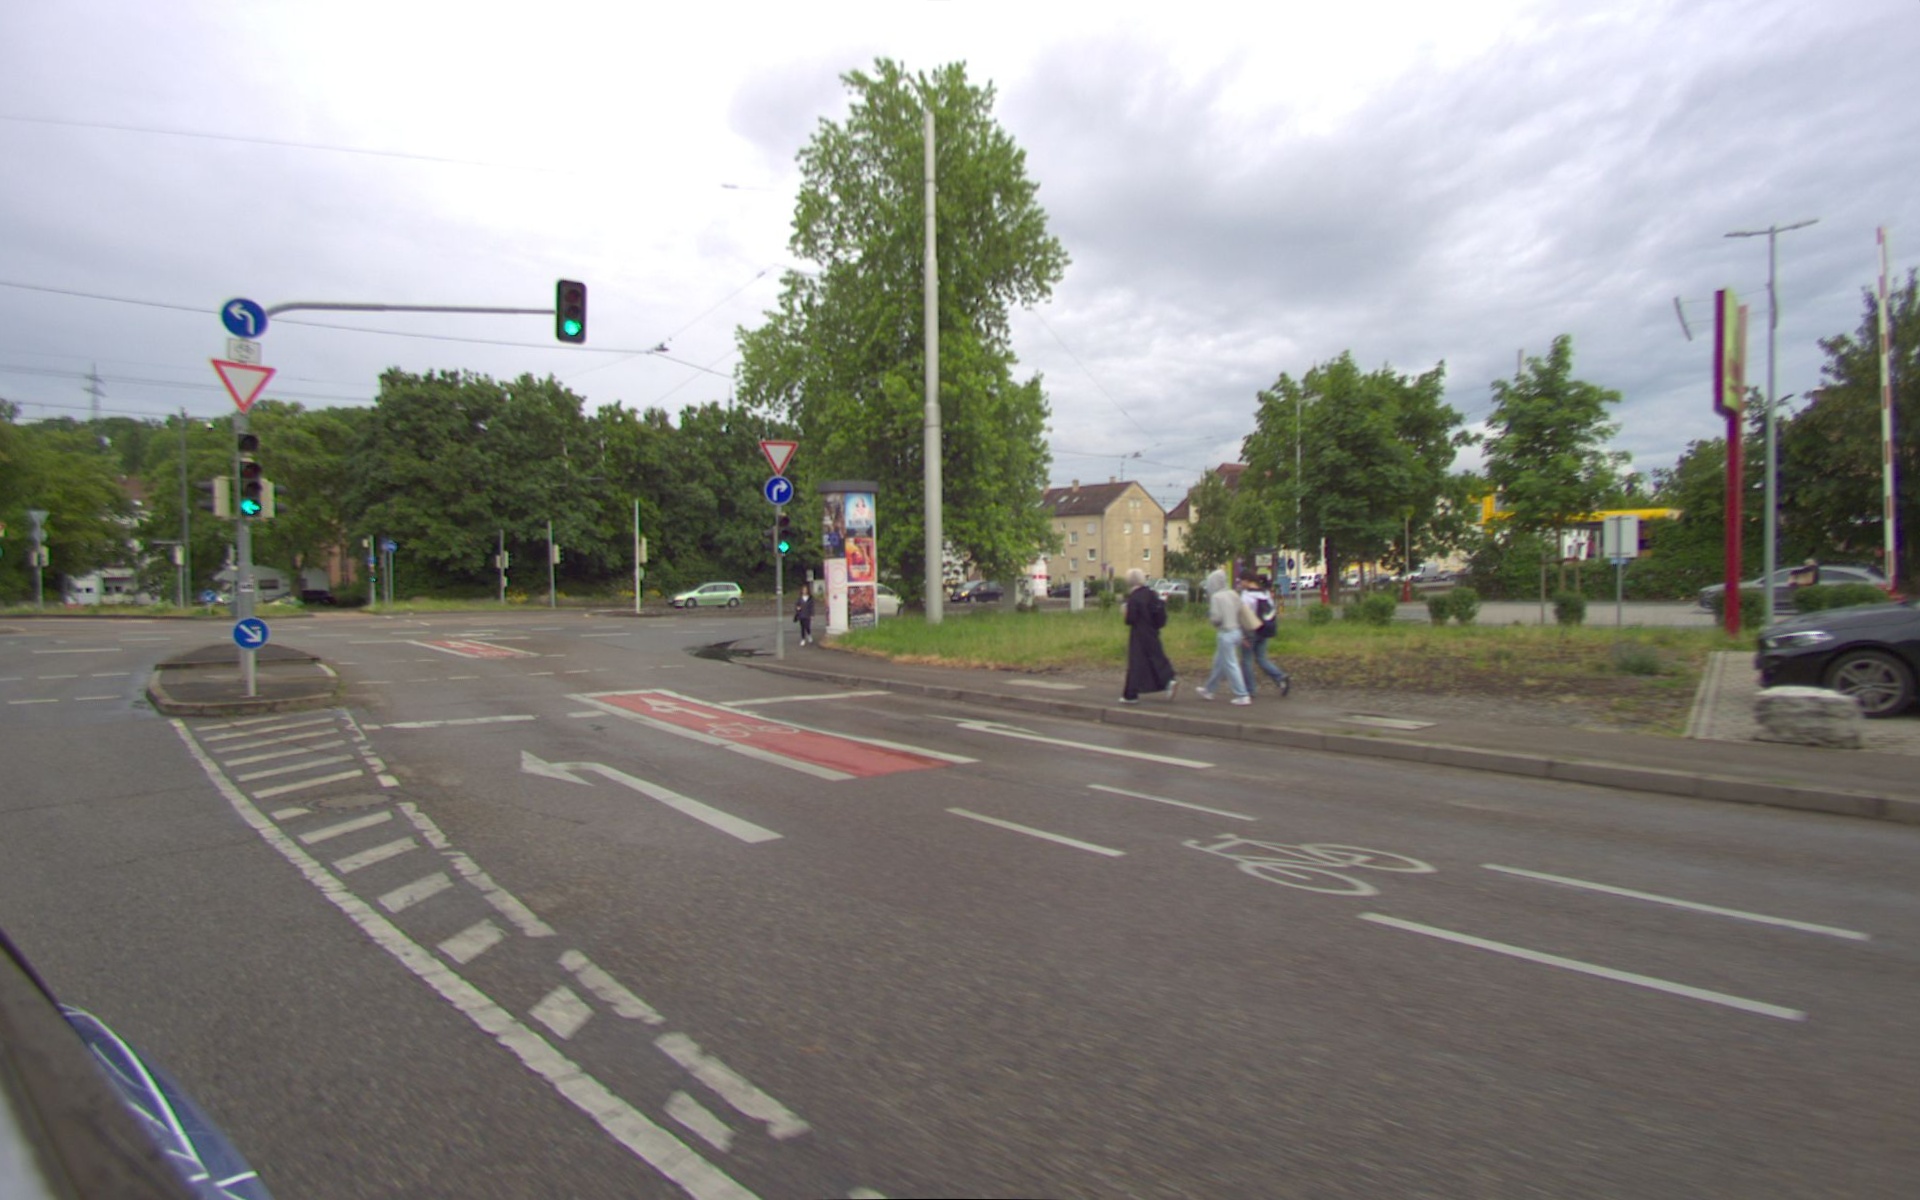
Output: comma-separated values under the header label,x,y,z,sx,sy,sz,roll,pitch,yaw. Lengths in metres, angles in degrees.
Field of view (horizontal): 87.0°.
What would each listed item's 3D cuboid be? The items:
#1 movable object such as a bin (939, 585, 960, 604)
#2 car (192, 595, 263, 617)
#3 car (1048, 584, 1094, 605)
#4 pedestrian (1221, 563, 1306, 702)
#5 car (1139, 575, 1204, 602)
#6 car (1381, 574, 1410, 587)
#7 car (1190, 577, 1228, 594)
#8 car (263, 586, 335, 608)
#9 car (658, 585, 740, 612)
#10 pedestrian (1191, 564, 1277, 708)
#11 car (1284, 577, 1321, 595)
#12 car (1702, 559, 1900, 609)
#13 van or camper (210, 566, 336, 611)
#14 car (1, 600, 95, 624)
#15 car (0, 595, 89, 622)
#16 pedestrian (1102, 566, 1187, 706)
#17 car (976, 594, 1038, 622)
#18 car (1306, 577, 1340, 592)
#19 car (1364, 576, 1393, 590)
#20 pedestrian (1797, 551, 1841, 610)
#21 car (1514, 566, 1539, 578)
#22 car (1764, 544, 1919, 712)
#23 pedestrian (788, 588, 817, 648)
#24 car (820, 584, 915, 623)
label,x,y,z,sx,sy,sz,roll,pitch,yaw
movable object such as a bin,-0.856,-0.470,81.769,1.118,1.428,1.189,-4,1,-44
car,-53.014,0.425,73.296,3.941,1.560,1.838,-1,1,-45
car,10.478,-0.532,95.730,1.849,1.668,4.297,-4,0,-37
pedestrian,3.705,0.383,12.354,0.647,1.614,0.679,-3,1,-36
car,12.077,-0.671,57.743,1.592,1.447,4.364,1,2,43
car,53.215,-2.395,123.660,4.135,1.475,1.609,-3,1,-40
car,24.244,-1.407,98.374,3.870,1.454,1.674,-3,1,-43
car,-41.131,-0.190,62.997,1.678,1.364,3.424,0,0,42
car,-14.989,-0.088,58.271,4.136,1.460,1.892,-1,0,-42
pedestrian,3.222,0.408,11.922,0.597,1.614,0.679,-3,1,-36
car,37.252,-1.511,109.904,4.453,1.770,1.855,-3,0,-43
car,24.688,-0.452,29.862,4.377,1.355,1.751,-1,1,41
van or camper,-43.681,-0.725,64.476,2.432,2.775,6.337,0,0,45
car,-53.583,0.685,59.508,1.678,1.364,3.944,0,0,42
car,-55.325,0.513,61.161,1.678,1.560,3.944,0,0,42
pedestrian,2.228,0.421,12.243,0.647,1.614,0.679,-3,1,-36
car,2.688,0.475,58.707,1.741,1.522,3.766,-3,1,-31
car,40.651,-1.744,113.370,4.072,1.523,1.695,-3,1,-40
car,49.760,-2.035,120.409,3.732,1.412,1.609,-3,1,-40
pedestrian,24.023,-0.539,28.308,0.747,1.609,0.805,-4,1,-41
car,81.958,-4.091,146.320,4.134,1.559,1.731,-4,1,-39
car,9.787,0.206,8.854,4.233,1.459,1.729,-1,2,41
pedestrian,-4.145,0.462,26.706,0.584,1.543,0.668,-3,1,0
car,-3.719,0.127,41.276,1.689,1.493,3.951,1,1,36
